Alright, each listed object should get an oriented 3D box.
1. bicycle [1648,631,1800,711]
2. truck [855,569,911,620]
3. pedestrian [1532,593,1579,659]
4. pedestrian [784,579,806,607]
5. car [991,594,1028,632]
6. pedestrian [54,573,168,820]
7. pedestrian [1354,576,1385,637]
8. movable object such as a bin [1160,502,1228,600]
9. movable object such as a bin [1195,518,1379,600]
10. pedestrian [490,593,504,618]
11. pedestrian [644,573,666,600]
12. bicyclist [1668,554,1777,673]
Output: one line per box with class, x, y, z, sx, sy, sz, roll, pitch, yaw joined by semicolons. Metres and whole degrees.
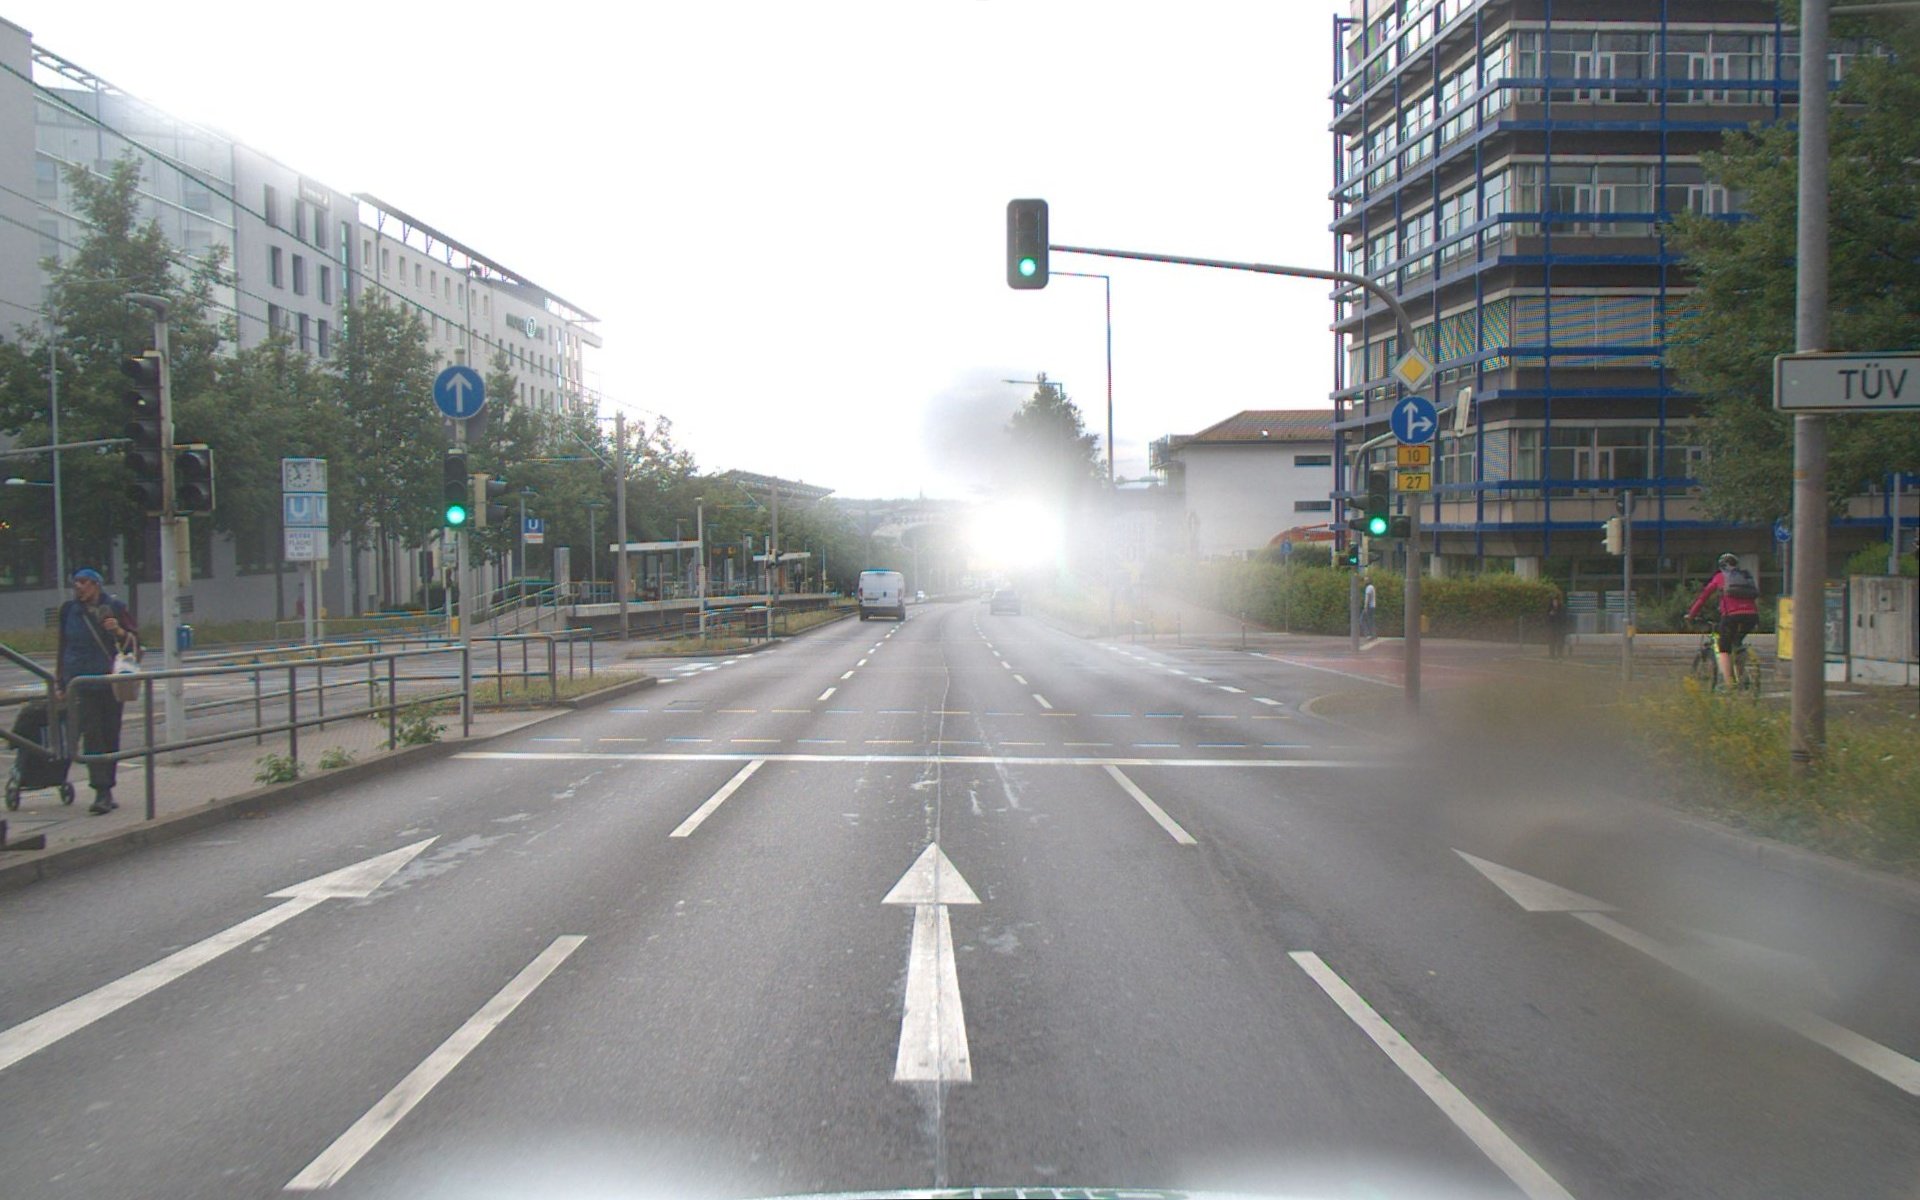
bicycle;8.765;0.790;19.092;0.654;0.823;2.318;1;0;-1
truck;-3.611;-0.229;78.253;2.312;2.301;5.306;1;0;1
pedestrian;14.516;0.626;40.326;0.887;1.568;0.796;0;0;38
pedestrian;-12.039;-0.497;120.659;1.239;2.049;1.130;1;0;17
car;2.813;0.742;93.188;1.952;2.049;3.935;1;0;3
pedestrian;-5.987;0.650;11.656;0.693;1.679;0.643;0;0;-29
pedestrian;11.328;0.176;45.769;0.544;1.681;0.830;0;0;-10
movable object such as a bin;14.466;-2.915;102.906;3.221;5.784;8.766;1;0;2
movable object such as a bin;22.442;-2.784;114.155;11.892;5.353;3.789;-1;-1;0
pedestrian;-29.871;0.330;106.681;0.587;1.605;0.835;1;0;2
pedestrian;-15.219;-0.692;82.608;0.941;1.322;0.684;-1;0;0
bicyclist;8.755;0.151;19.032;0.642;1.310;1.219;2;0;-1
